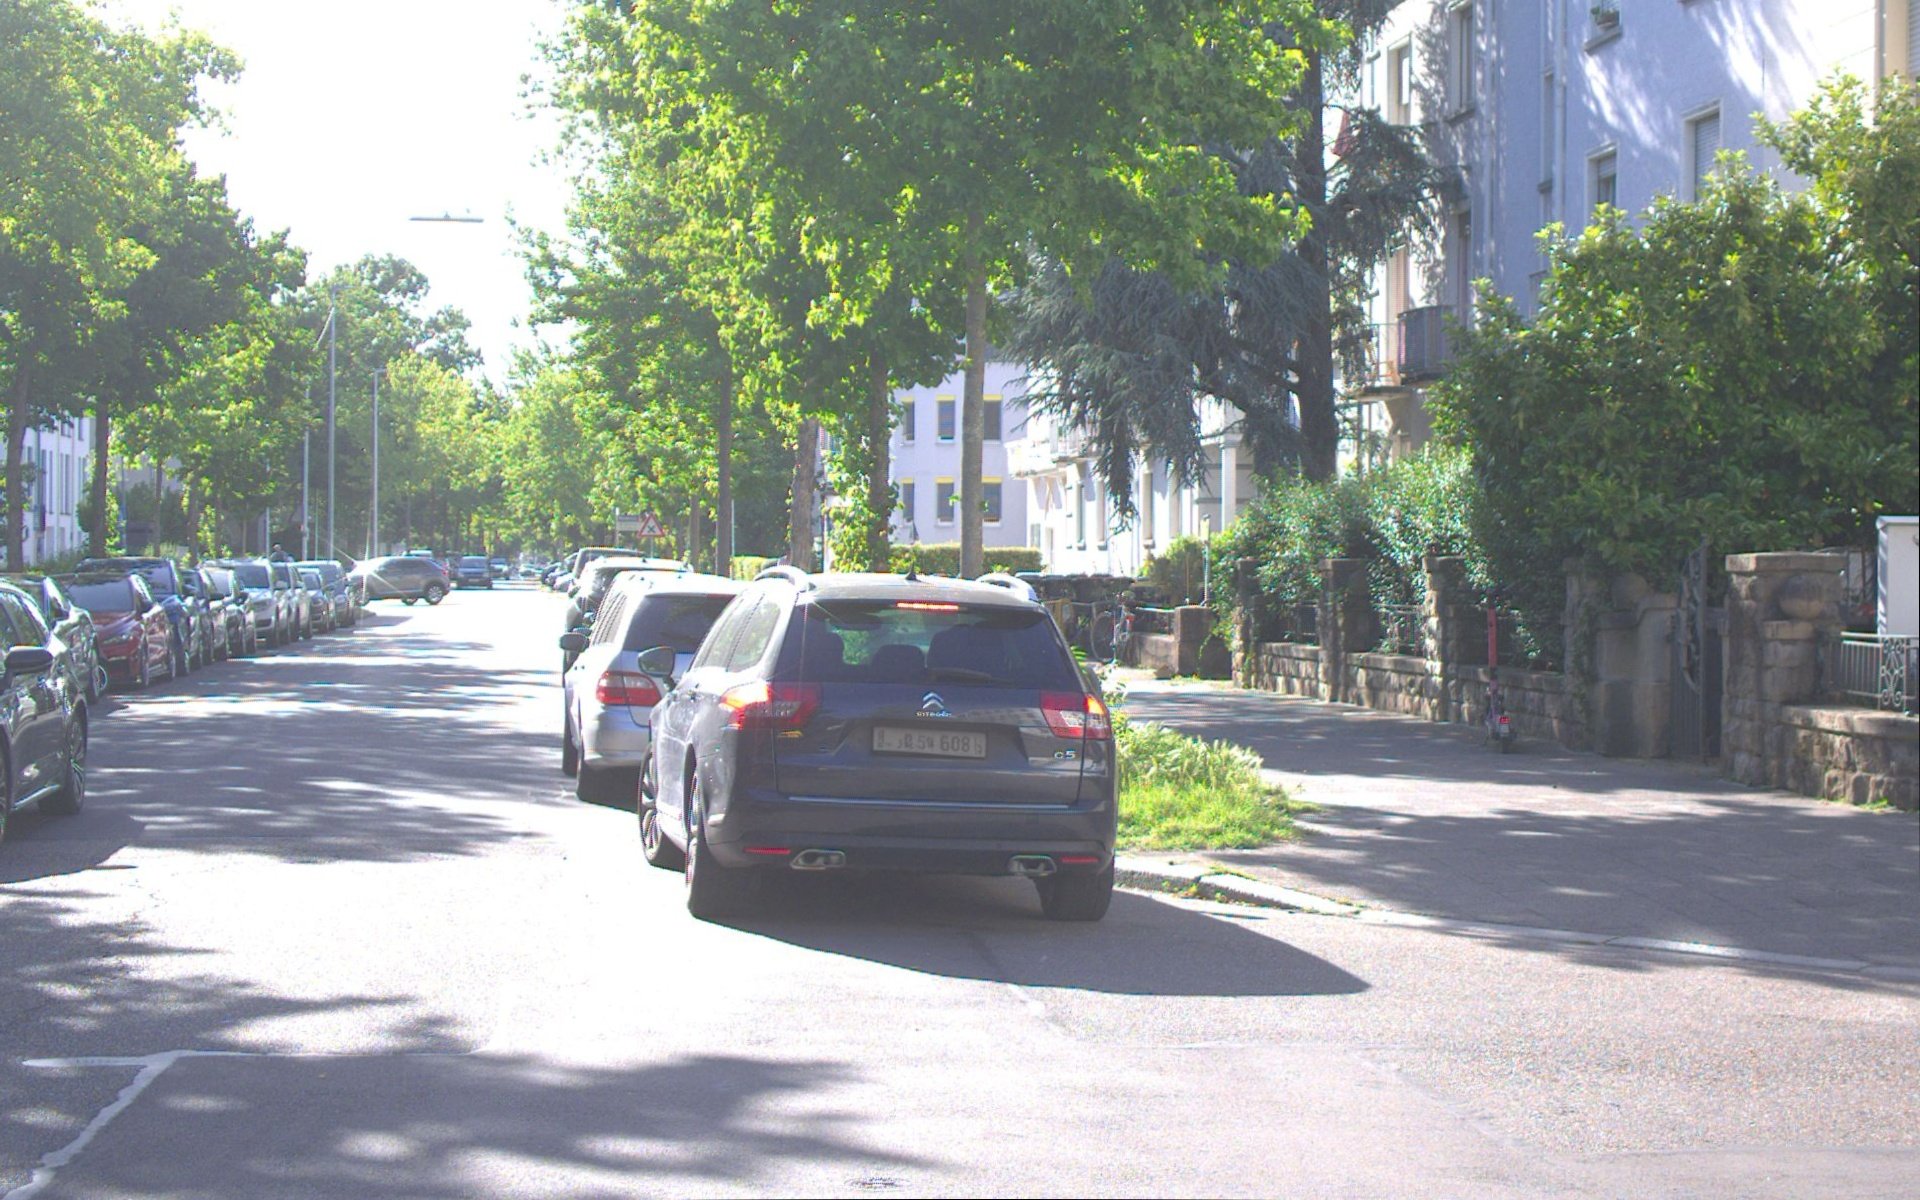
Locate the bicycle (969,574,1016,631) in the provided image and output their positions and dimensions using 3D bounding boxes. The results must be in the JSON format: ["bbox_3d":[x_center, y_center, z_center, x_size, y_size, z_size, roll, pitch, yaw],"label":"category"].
[{"bbox_3d":[0.556,0.029,59.494,0.595,0.954,1.904,0,1,-7],"label":"bicycle"}]

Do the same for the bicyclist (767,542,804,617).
[{"bbox_3d":[-3.763,-0.437,74.016,0.677,1.604,0.922,0,1,-10],"label":"bicyclist"}]

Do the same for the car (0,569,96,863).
[{"bbox_3d":[-5.903,0.575,18.712,1.808,1.441,4.367,-1,1,-7],"label":"car"}]

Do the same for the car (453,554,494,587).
[{"bbox_3d":[-23.483,-1.438,165.921,1.782,1.603,4.001,0,1,-11],"label":"car"}]

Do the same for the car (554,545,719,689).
[{"bbox_3d":[-4.128,0.169,44.093,1.925,1.646,5.096,2,1,-5],"label":"car"}]

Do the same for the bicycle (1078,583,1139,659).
[{"bbox_3d":[1.981,0.273,46.092,0.581,0.971,1.904,0,1,-5],"label":"bicycle"}]

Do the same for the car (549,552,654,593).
[{"bbox_3d":[-14.097,-1.085,135.179,3.986,1.581,1.727,0,1,-10],"label":"car"}]

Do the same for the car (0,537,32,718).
[{"bbox_3d":[-9.414,0.286,30.338,1.728,1.612,4.367,-3,1,-7],"label":"car"}]

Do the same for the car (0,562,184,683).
[{"bbox_3d":[-10.775,0.238,42.527,1.779,1.374,4.263,-1,1,-6],"label":"car"}]

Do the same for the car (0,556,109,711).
[{"bbox_3d":[-10.058,0.330,35.643,1.728,1.472,4.620,-3,1,-6],"label":"car"}]

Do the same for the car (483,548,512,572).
[{"bbox_3d":[-30.704,-2.665,228.326,1.894,1.555,4.001,0,1,-7],"label":"car"}]

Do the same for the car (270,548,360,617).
[{"bbox_3d":[-15.558,-0.439,83.055,1.839,1.589,4.263,-1,1,-7],"label":"car"}]

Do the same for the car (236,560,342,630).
[{"bbox_3d":[-15.000,-0.137,77.011,1.993,1.448,4.263,-2,1,-7],"label":"car"}]

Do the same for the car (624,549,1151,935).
[{"bbox_3d":[-0.522,0.572,16.234,1.895,1.519,4.968,1,0,-8],"label":"car"}]

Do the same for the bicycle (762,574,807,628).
[{"bbox_3d":[-3.782,0.010,74.076,0.683,1.149,2.404,0,1,-10],"label":"bicycle"}]

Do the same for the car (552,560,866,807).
[{"bbox_3d":[-1.854,0.500,23.920,1.821,1.464,4.911,2,1,-8],"label":"car"}]

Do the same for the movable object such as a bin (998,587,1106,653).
[{"bbox_3d":[1.332,0.282,49.551,1.222,0.901,1.663,1,1,14],"label":"movable object such as a bin"}]

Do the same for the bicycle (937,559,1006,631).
[{"bbox_3d":[0.196,-0.103,61.868,0.838,1.253,2.232,1,0,-10],"label":"bicycle"}]

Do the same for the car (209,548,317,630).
[{"bbox_3d":[-13.828,-0.244,68.371,1.710,1.539,3.931,-2,1,-6],"label":"car"}]

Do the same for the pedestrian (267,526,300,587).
[{"bbox_3d":[-22.507,-1.456,114.389,0.859,2.007,0.981,0,1,2],"label":"pedestrian"}]

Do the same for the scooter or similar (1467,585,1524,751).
[{"bbox_3d":[3.993,0.493,25.672,0.401,1.181,1.205,0,1,9],"label":"scooter or similar"}]

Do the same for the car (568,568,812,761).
[{"bbox_3d":[-2.348,0.479,28.887,1.710,1.406,4.863,2,1,-8],"label":"car"}]

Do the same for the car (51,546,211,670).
[{"bbox_3d":[-11.438,0.077,47.671,1.789,1.561,4.467,-2,1,-10],"label":"car"}]

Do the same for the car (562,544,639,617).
[{"bbox_3d":[-9.864,-0.544,93.996,1.970,1.942,4.986,0,1,-7],"label":"car"}]

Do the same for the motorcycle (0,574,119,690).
[{"bbox_3d":[-10.805,0.369,39.212,2.285,1.266,0.808,-1,1,-16],"label":"motorcycle"}]

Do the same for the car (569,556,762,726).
[{"bbox_3d":[-3.015,0.363,34.575,1.654,1.527,3.970,3,0,-8],"label":"car"}]

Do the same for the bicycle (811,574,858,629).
[{"bbox_3d":[-2.709,0.030,73.956,0.683,1.149,2.404,0,1,-10],"label":"bicycle"}]

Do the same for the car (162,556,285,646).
[{"bbox_3d":[-13.417,-0.010,62.786,1.811,1.590,4.234,0,1,-7],"label":"car"}]

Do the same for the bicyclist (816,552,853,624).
[{"bbox_3d":[-2.699,-0.259,73.854,0.676,1.548,1.022,0,1,-10],"label":"bicyclist"}]

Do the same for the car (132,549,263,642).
[{"bbox_3d":[-12.668,-0.099,57.292,1.761,1.439,3.909,-1,1,-7],"label":"car"}]

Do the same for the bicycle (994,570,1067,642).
[{"bbox_3d":[1.118,0.088,54.979,0.803,1.111,2.001,1,0,-9],"label":"bicycle"}]
